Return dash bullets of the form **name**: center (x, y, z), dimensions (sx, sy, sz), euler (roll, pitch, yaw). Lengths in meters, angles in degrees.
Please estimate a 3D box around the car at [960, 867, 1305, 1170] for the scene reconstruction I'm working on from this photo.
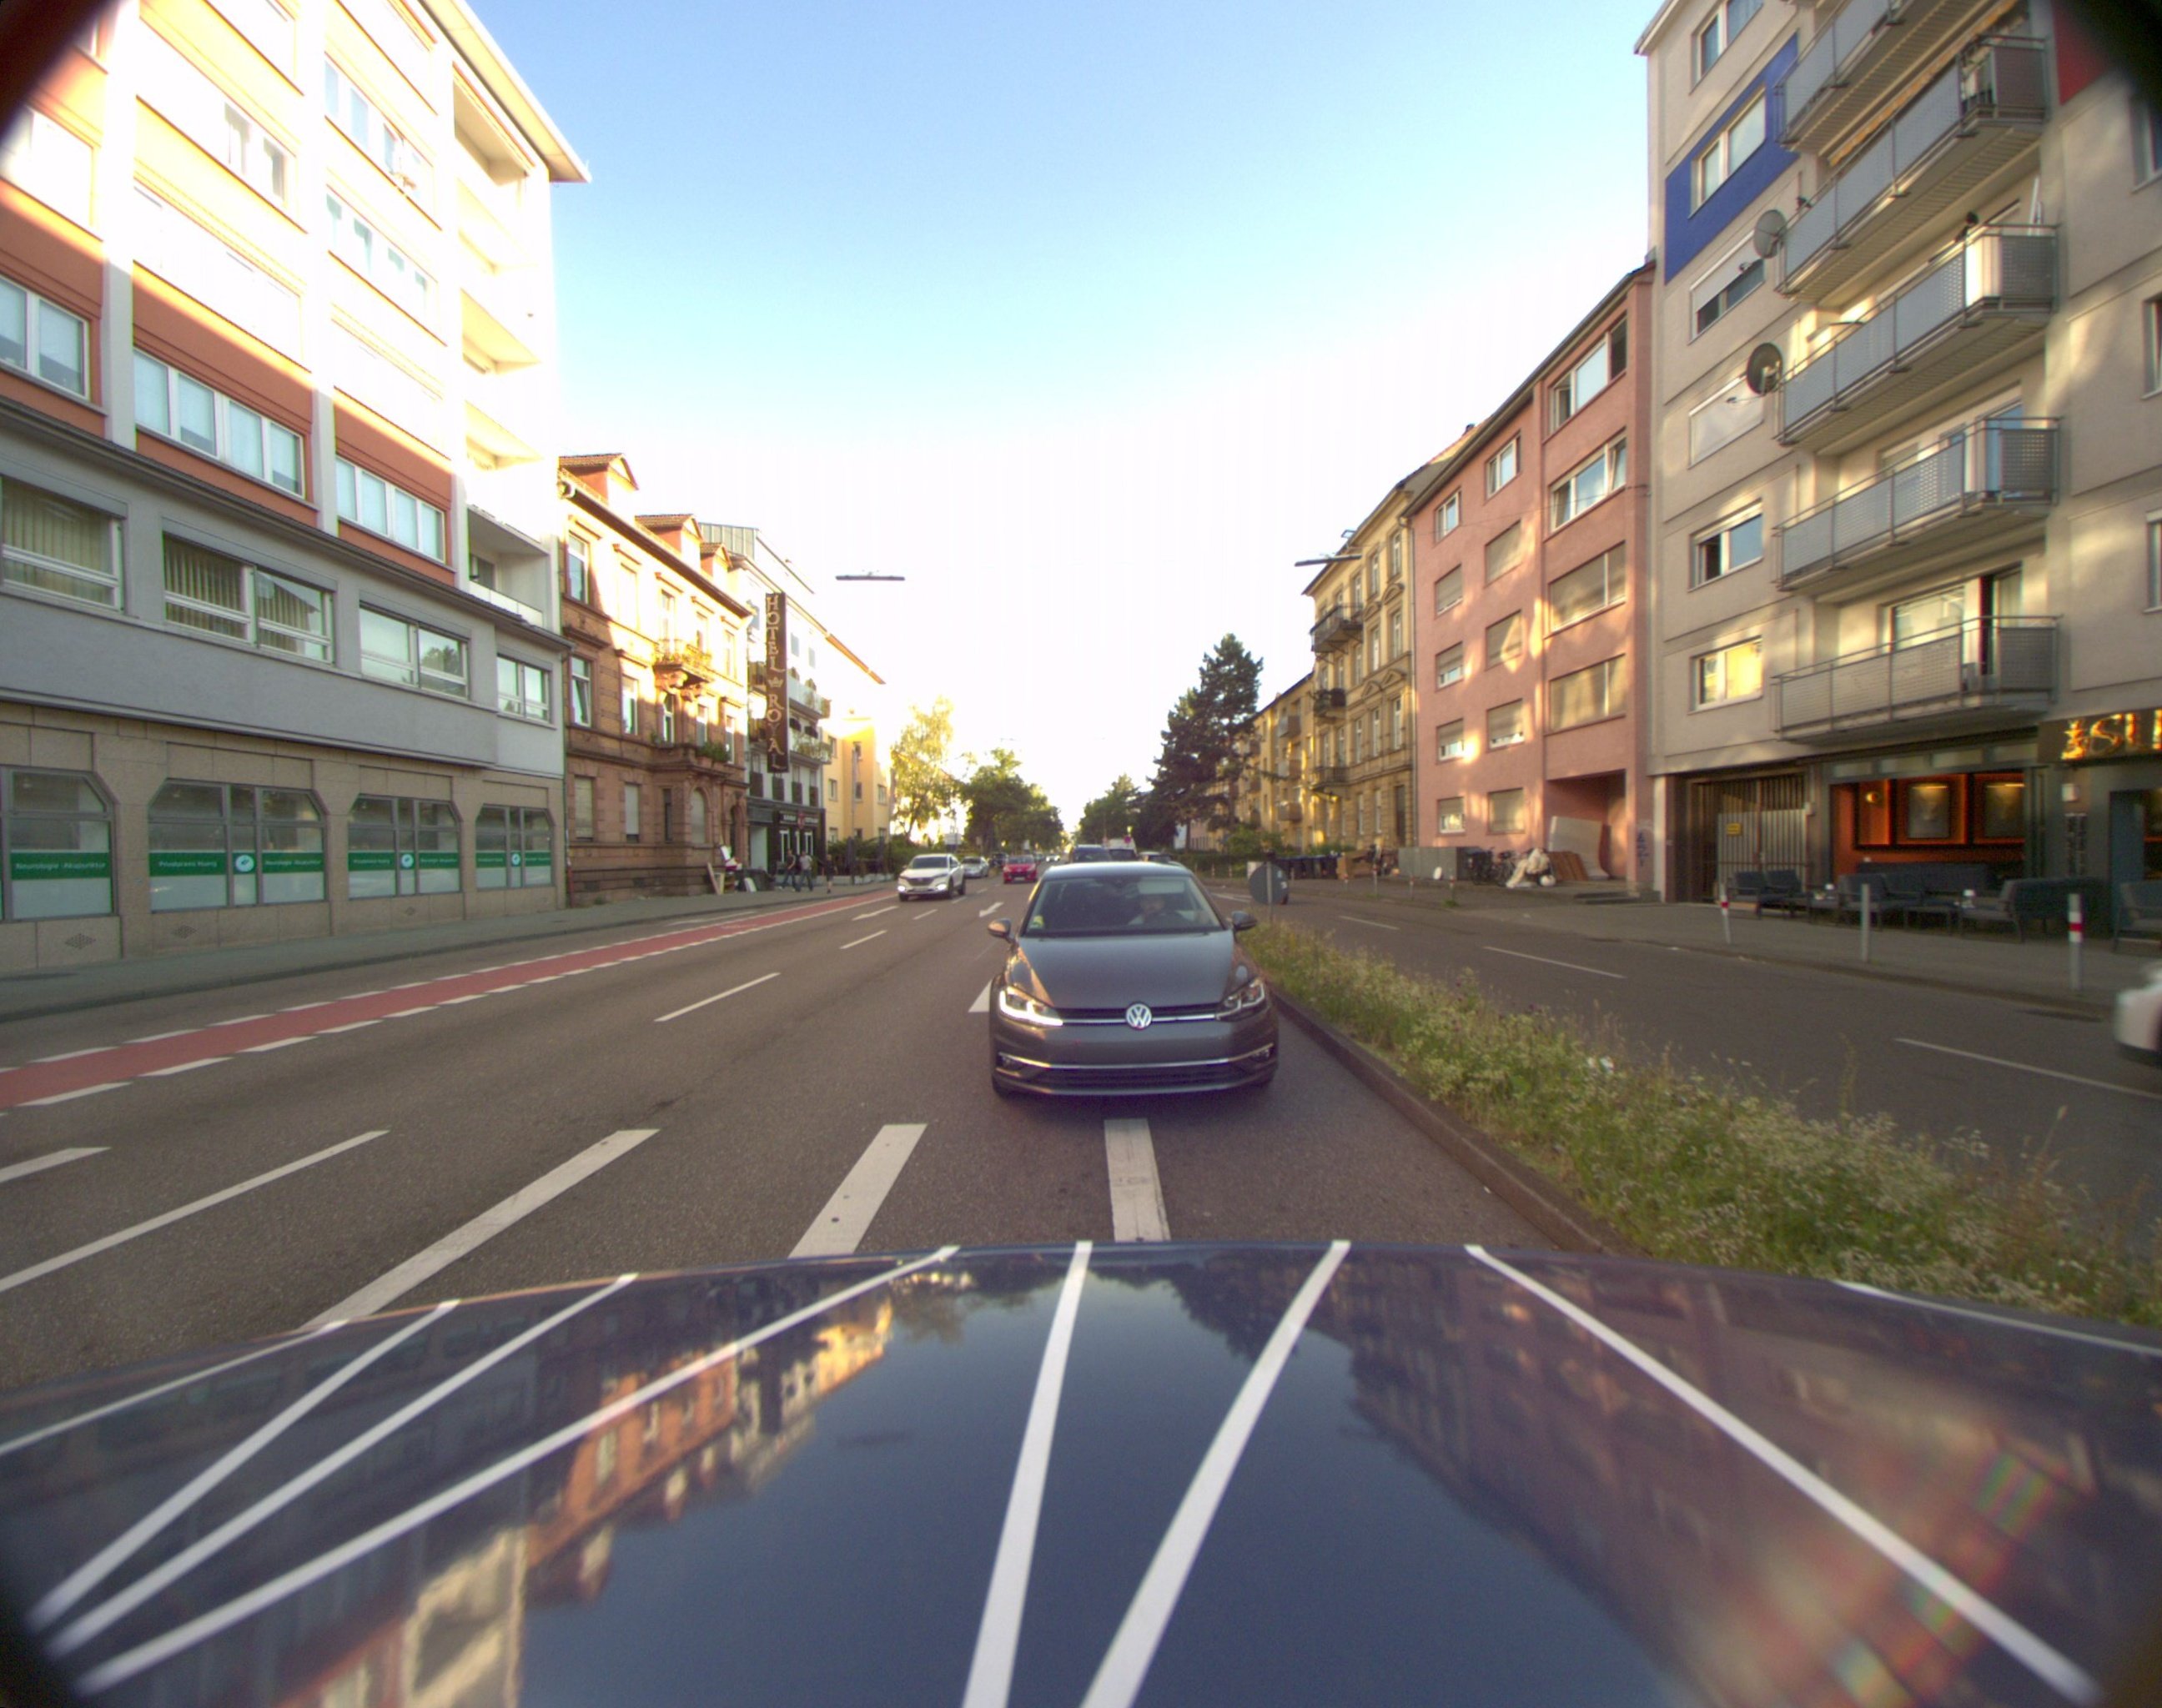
- **car**: center (0.299, 0.911, 6.158), dimensions (1.770, 1.450, 4.269), euler (-2, 0, 1)

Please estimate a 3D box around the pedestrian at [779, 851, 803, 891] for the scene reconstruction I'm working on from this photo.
- **pedestrian**: center (-12.545, 0.727, 32.892), dimensions (0.668, 1.716, 1.010), euler (-1, 1, -5)

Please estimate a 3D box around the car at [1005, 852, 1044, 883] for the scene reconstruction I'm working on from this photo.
- **car**: center (-2.983, 0.669, 40.559), dimensions (1.674, 1.454, 3.999), euler (-2, 1, 1)

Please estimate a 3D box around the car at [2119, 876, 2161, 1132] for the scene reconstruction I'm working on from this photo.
- **car**: center (7.277, 0.872, 2.516), dimensions (1.757, 1.479, 4.246), euler (0, 0, -4)

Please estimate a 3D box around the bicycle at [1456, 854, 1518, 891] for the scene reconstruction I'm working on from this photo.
- **bicycle**: center (13.152, 0.594, 24.632), dimensions (1.780, 1.184, 0.473), euler (-1, 1, -2)

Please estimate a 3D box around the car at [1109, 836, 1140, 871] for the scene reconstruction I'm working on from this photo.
- **car**: center (3.450, -0.060, 61.062), dimensions (2.136, 2.740, 4.465), euler (0, 1, 0)

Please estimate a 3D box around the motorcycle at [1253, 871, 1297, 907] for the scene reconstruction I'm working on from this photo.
- **motorcycle**: center (5.710, 1.026, 22.489), dimensions (0.750, 0.957, 2.048), euler (0, 0, -1)

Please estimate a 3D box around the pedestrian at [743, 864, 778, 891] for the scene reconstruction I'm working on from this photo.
- **pedestrian**: center (-13.743, 1.002, 32.645), dimensions (1.100, 1.129, 0.924), euler (-1, 1, -2)

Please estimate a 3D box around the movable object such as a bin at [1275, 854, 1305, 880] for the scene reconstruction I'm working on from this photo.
- **movable object such as a bin**: center (10.303, 0.628, 37.428), dimensions (1.196, 1.225, 0.847), euler (-2, 1, -40)

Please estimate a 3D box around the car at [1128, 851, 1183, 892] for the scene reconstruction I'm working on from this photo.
- **car**: center (2.938, 0.667, 30.752), dimensions (1.596, 1.533, 3.402), euler (0, 1, -5)

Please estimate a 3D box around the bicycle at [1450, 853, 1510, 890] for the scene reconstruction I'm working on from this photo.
- **bicycle**: center (13.232, 0.584, 25.211), dimensions (1.780, 1.184, 0.473), euler (-1, 1, -2)

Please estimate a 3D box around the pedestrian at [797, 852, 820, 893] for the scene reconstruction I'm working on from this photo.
- **pedestrian**: center (-11.794, 0.781, 32.900), dimensions (0.668, 1.716, 1.010), euler (-1, 1, -3)

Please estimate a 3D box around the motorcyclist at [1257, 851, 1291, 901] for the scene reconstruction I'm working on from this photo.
- **motorcyclist**: center (5.709, 0.633, 22.473), dimensions (0.750, 1.433, 0.958), euler (0, 1, -1)

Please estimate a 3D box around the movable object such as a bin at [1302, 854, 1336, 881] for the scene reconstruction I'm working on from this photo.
- **movable object such as a bin**: center (11.224, 0.609, 35.829), dimensions (1.295, 1.225, 0.926), euler (-2, 1, -40)

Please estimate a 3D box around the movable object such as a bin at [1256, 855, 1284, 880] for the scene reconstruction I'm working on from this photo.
- **movable object such as a bin**: center (9.439, 0.656, 37.923), dimensions (0.847, 1.225, 1.196), euler (0, 1, 42)

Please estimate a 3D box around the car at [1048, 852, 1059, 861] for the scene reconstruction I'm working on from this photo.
- **car**: center (-4.887, 0.393, 135.389), dimensions (1.907, 1.532, 3.999), euler (-1, 1, 0)

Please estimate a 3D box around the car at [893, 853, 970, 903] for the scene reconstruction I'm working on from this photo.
- **car**: center (-5.503, 0.830, 28.549), dimensions (1.921, 1.598, 4.269), euler (-2, 1, 1)

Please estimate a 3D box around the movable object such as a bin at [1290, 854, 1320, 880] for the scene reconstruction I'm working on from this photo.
- **movable object such as a bin**: center (10.832, 0.616, 36.723), dimensions (1.196, 1.225, 0.847), euler (-2, 1, -40)

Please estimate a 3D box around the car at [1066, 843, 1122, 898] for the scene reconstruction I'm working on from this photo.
- **car**: center (0.435, 0.546, 27.755), dimensions (1.895, 1.843, 4.466), euler (0, 0, 0)

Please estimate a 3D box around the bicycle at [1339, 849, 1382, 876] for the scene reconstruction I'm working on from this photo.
- **bicycle**: center (12.715, 0.390, 34.599), dimensions (1.780, 1.184, 0.473), euler (-1, 1, -2)

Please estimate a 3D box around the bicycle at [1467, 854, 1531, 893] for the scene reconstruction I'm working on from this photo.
- **bicycle**: center (13.131, 0.596, 23.898), dimensions (1.780, 1.184, 0.473), euler (-1, 1, -2)

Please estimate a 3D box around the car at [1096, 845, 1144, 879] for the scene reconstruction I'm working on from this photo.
- **car**: center (2.171, 0.407, 43.321), dimensions (1.896, 1.843, 4.697), euler (0, 0, -7)

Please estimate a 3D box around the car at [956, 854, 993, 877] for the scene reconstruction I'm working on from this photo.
- **car**: center (-7.371, 0.770, 52.765), dimensions (1.905, 1.508, 4.074), euler (-1, 0, 1)

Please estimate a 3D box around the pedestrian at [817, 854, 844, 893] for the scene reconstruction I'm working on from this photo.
- **pedestrian**: center (-10.637, 0.807, 32.317), dimensions (0.738, 1.593, 1.011), euler (2, 1, 4)

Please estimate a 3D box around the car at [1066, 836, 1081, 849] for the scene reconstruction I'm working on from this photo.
- **car**: center (-1.031, -1.540, 100.360), dimensions (1.747, 1.631, 3.745), euler (0, 1, -3)

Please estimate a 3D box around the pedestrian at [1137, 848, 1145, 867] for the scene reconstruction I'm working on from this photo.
- **pedestrian**: center (5.071, 0.292, 64.283), dimensions (0.577, 1.591, 0.481), euler (-1, 1, 1)

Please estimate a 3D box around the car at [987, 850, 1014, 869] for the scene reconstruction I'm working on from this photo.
- **car**: center (-7.210, 0.477, 68.636), dimensions (1.947, 1.615, 4.193), euler (-1, 0, 0)

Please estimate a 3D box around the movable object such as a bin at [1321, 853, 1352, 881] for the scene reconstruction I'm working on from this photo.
- **movable object such as a bin**: center (11.798, 0.597, 35.084), dimensions (1.196, 1.225, 0.847), euler (-2, 1, -40)
